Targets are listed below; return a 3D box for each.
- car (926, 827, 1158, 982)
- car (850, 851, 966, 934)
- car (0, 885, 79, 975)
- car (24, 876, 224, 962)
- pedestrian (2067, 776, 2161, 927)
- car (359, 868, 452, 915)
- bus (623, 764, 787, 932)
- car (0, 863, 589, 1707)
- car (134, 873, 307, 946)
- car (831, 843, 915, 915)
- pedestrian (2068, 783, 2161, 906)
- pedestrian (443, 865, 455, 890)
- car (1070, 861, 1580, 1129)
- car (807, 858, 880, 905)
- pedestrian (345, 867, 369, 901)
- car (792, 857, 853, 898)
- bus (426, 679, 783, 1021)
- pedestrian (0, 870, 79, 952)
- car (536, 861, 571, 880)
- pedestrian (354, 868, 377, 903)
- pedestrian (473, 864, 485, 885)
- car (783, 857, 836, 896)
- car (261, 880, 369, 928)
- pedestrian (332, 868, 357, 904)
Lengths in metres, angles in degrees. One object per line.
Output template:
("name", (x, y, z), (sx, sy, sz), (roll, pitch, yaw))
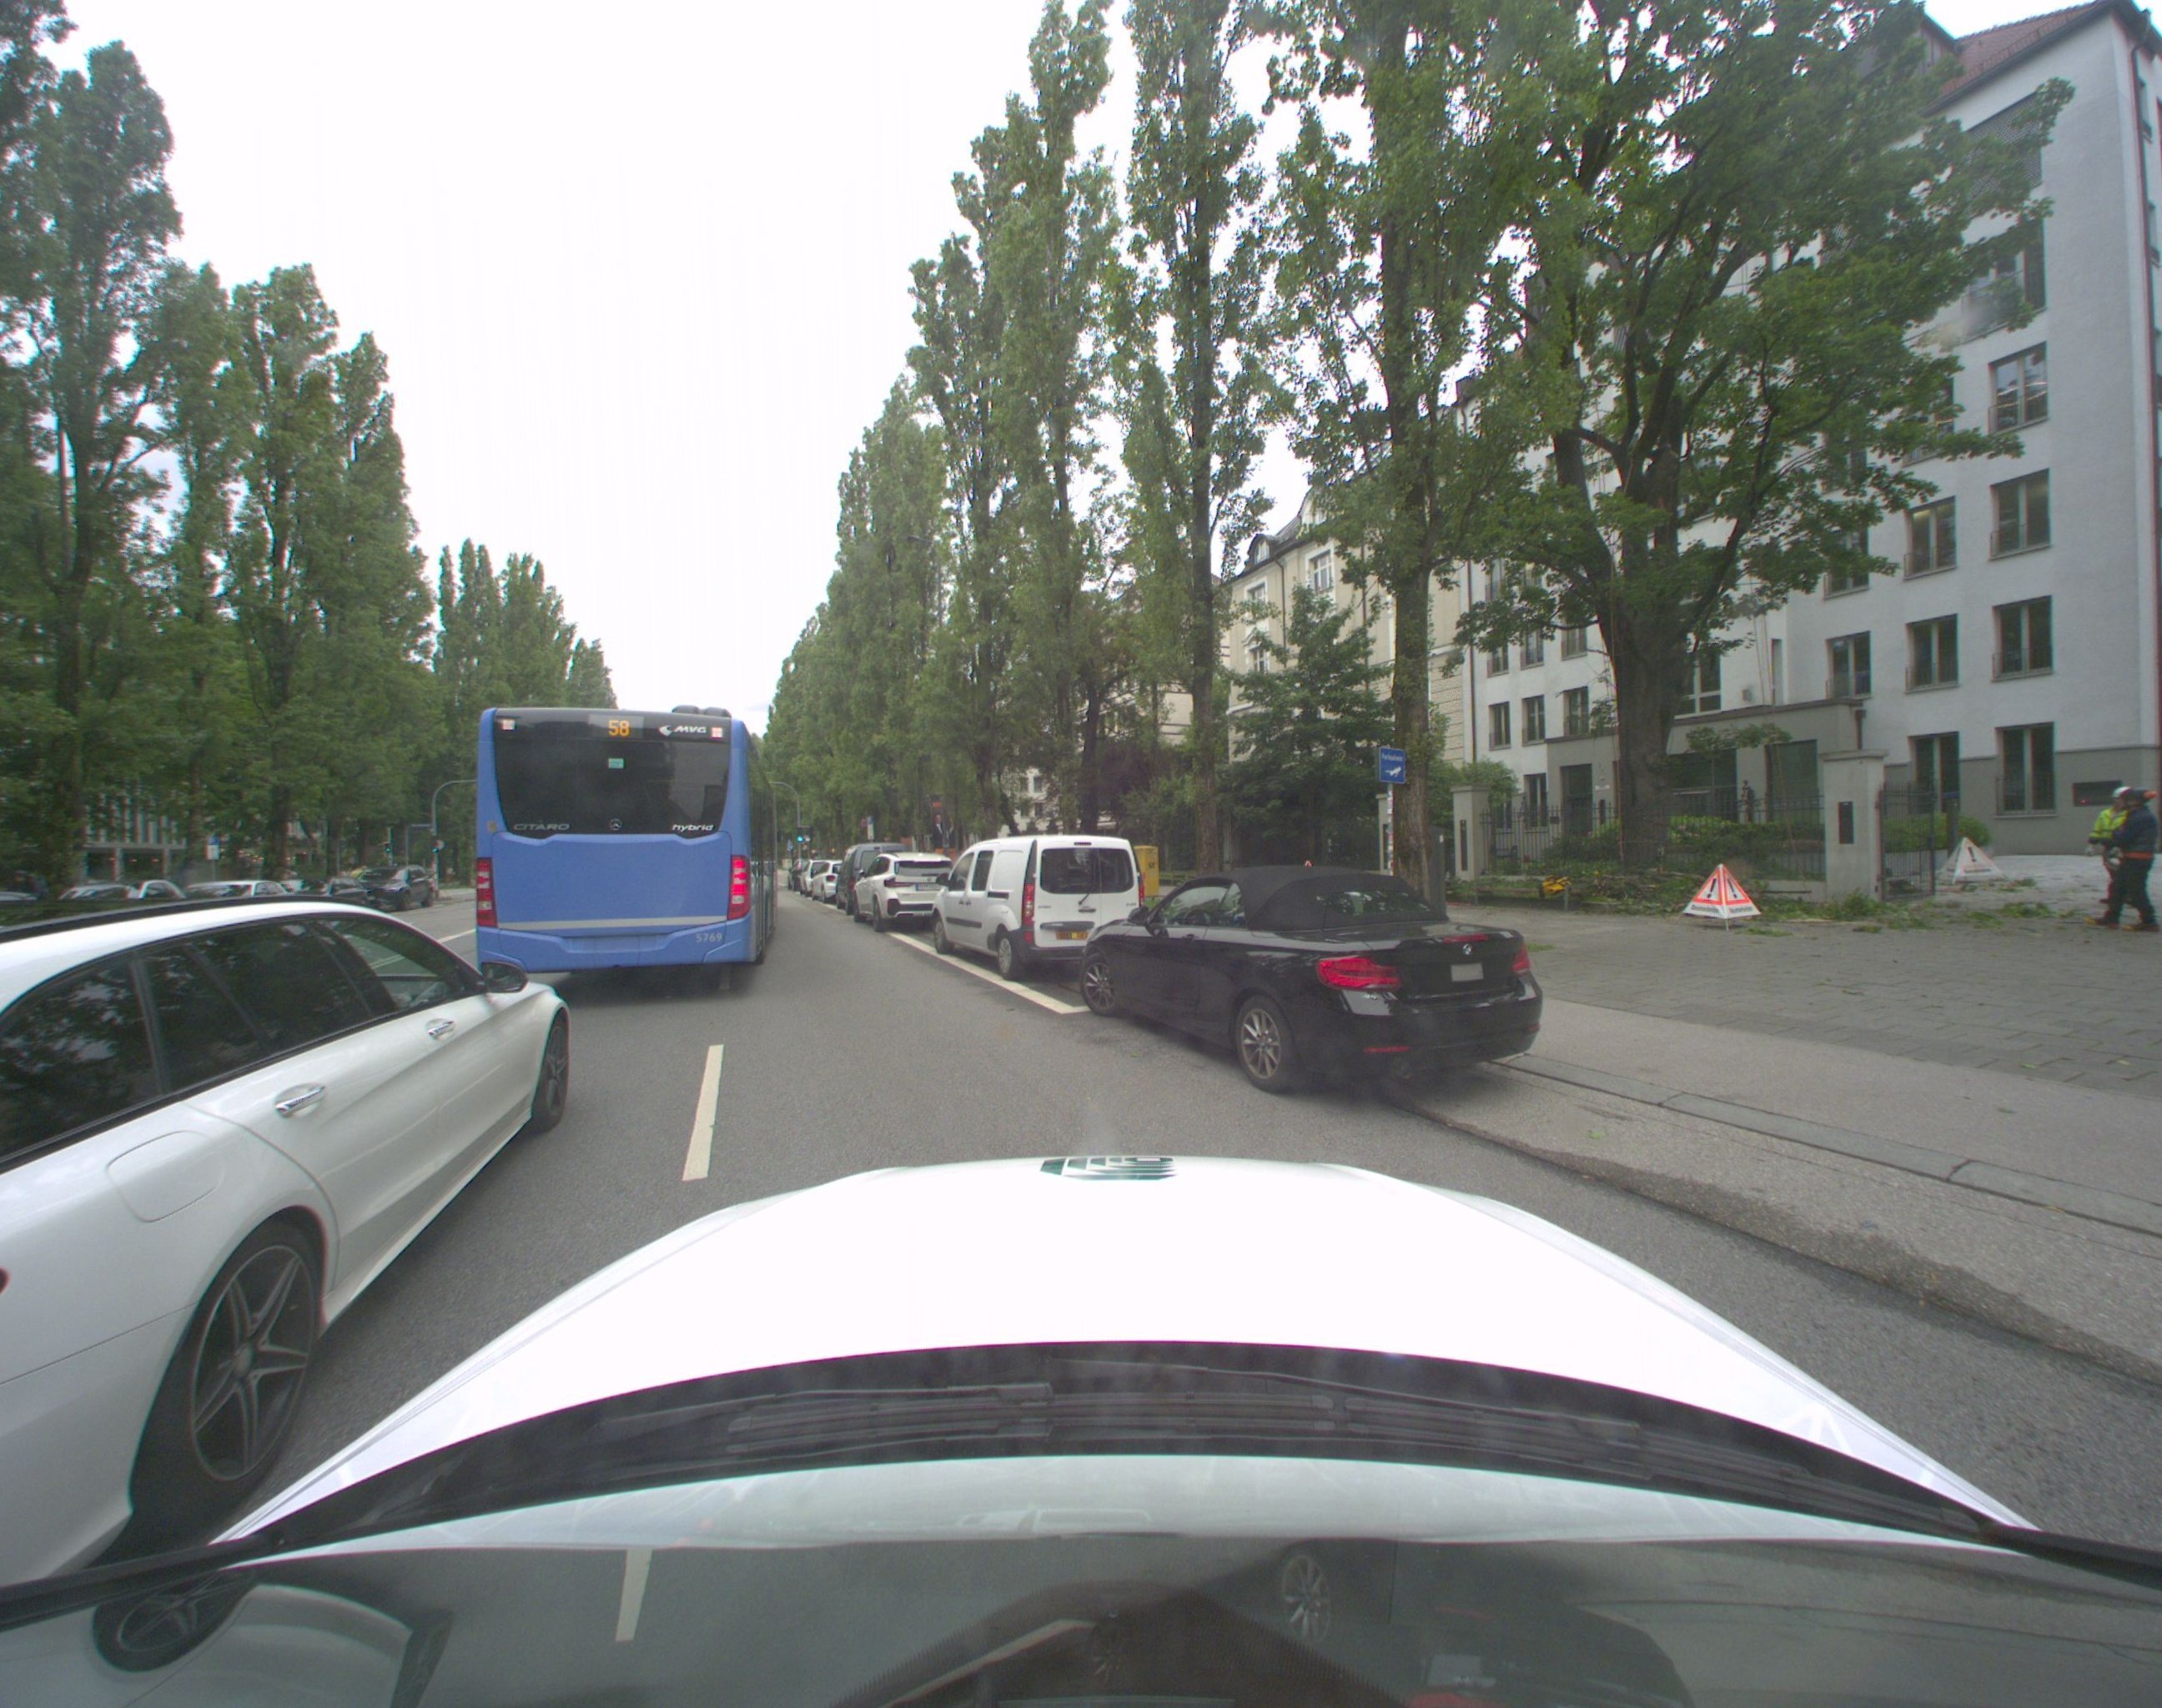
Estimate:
("car", (-0.766, 0.600, 11.635), (1.842, 1.773, 4.194), (1, -1, -26))
("car", (-3.916, 0.743, 17.909), (1.685, 1.596, 4.054), (0, 0, -24))
("car", (-18.415, 1.327, 12.940), (1.547, 1.433, 3.837), (-5, 2, -25))
("car", (-20.487, 1.307, 17.628), (1.416, 1.552, 3.416), (-2, 0, -24))
("pedestrian", (13.712, -0.045, 10.528), (0.932, 1.866, 0.774), (-2, 0, 4))
("car", (-26.035, 1.390, 31.530), (1.715, 1.552, 3.968), (-2, 0, -24))
("bus", (-9.215, -0.139, 21.079), (2.881, 3.304, 9.724), (-1, 0, -19))
("car", (-3.235, 0.778, 2.825), (1.833, 1.454, 4.550), (-1, 0, -21))
("car", (-22.077, 1.347, 21.117), (1.717, 1.548, 3.966), (-2, 1, -26))
("car", (-5.914, 0.630, 22.822), (1.711, 1.836, 3.969), (0, 0, -23))
("pedestrian", (16.374, -0.154, 12.886), (0.776, 1.854, 0.827), (-2, 0, -30))
("pedestrian", (-52.757, 1.939, 67.985), (0.621, 2.013, 0.602), (-2, 0, -26))
("car", (1.488, 0.768, 6.497), (1.754, 1.354, 3.969), (-1, 0, -23))
("car", (-8.381, 0.889, 28.526), (1.808, 1.475, 3.966), (-2, 1, -26))
("pedestrian", (-38.142, 1.575, 42.886), (0.706, 1.736, 0.803), (-2, 0, -26))
("car", (-10.578, 0.908, 33.130), (1.795, 1.491, 3.966), (-2, 1, -26))
("bus", (-6.209, -0.064, 12.395), (2.864, 3.213, 9.002), (-1, 0, -19))
("pedestrian", (-23.885, 1.276, 18.605), (0.826, 1.764, 1.071), (-2, 0, -27))
("car", (-44.036, 1.341, 68.070), (1.830, 1.486, 3.967), (-2, 0, -25))
("pedestrian", (-42.481, 1.850, 48.355), (0.835, 2.013, 0.771), (-2, 0, -27))
("pedestrian", (-58.058, 1.981, 78.543), (0.835, 2.013, 0.771), (-2, 0, -28))
("car", (-12.656, 0.998, 37.811), (1.818, 1.618, 3.966), (-2, 1, -26))
("car", (-24.484, 1.540, 26.186), (1.295, 1.273, 3.818), (-2, 1, -24))
("pedestrian", (-43.194, 1.867, 47.753), (0.835, 2.013, 0.771), (-2, 0, -27))
